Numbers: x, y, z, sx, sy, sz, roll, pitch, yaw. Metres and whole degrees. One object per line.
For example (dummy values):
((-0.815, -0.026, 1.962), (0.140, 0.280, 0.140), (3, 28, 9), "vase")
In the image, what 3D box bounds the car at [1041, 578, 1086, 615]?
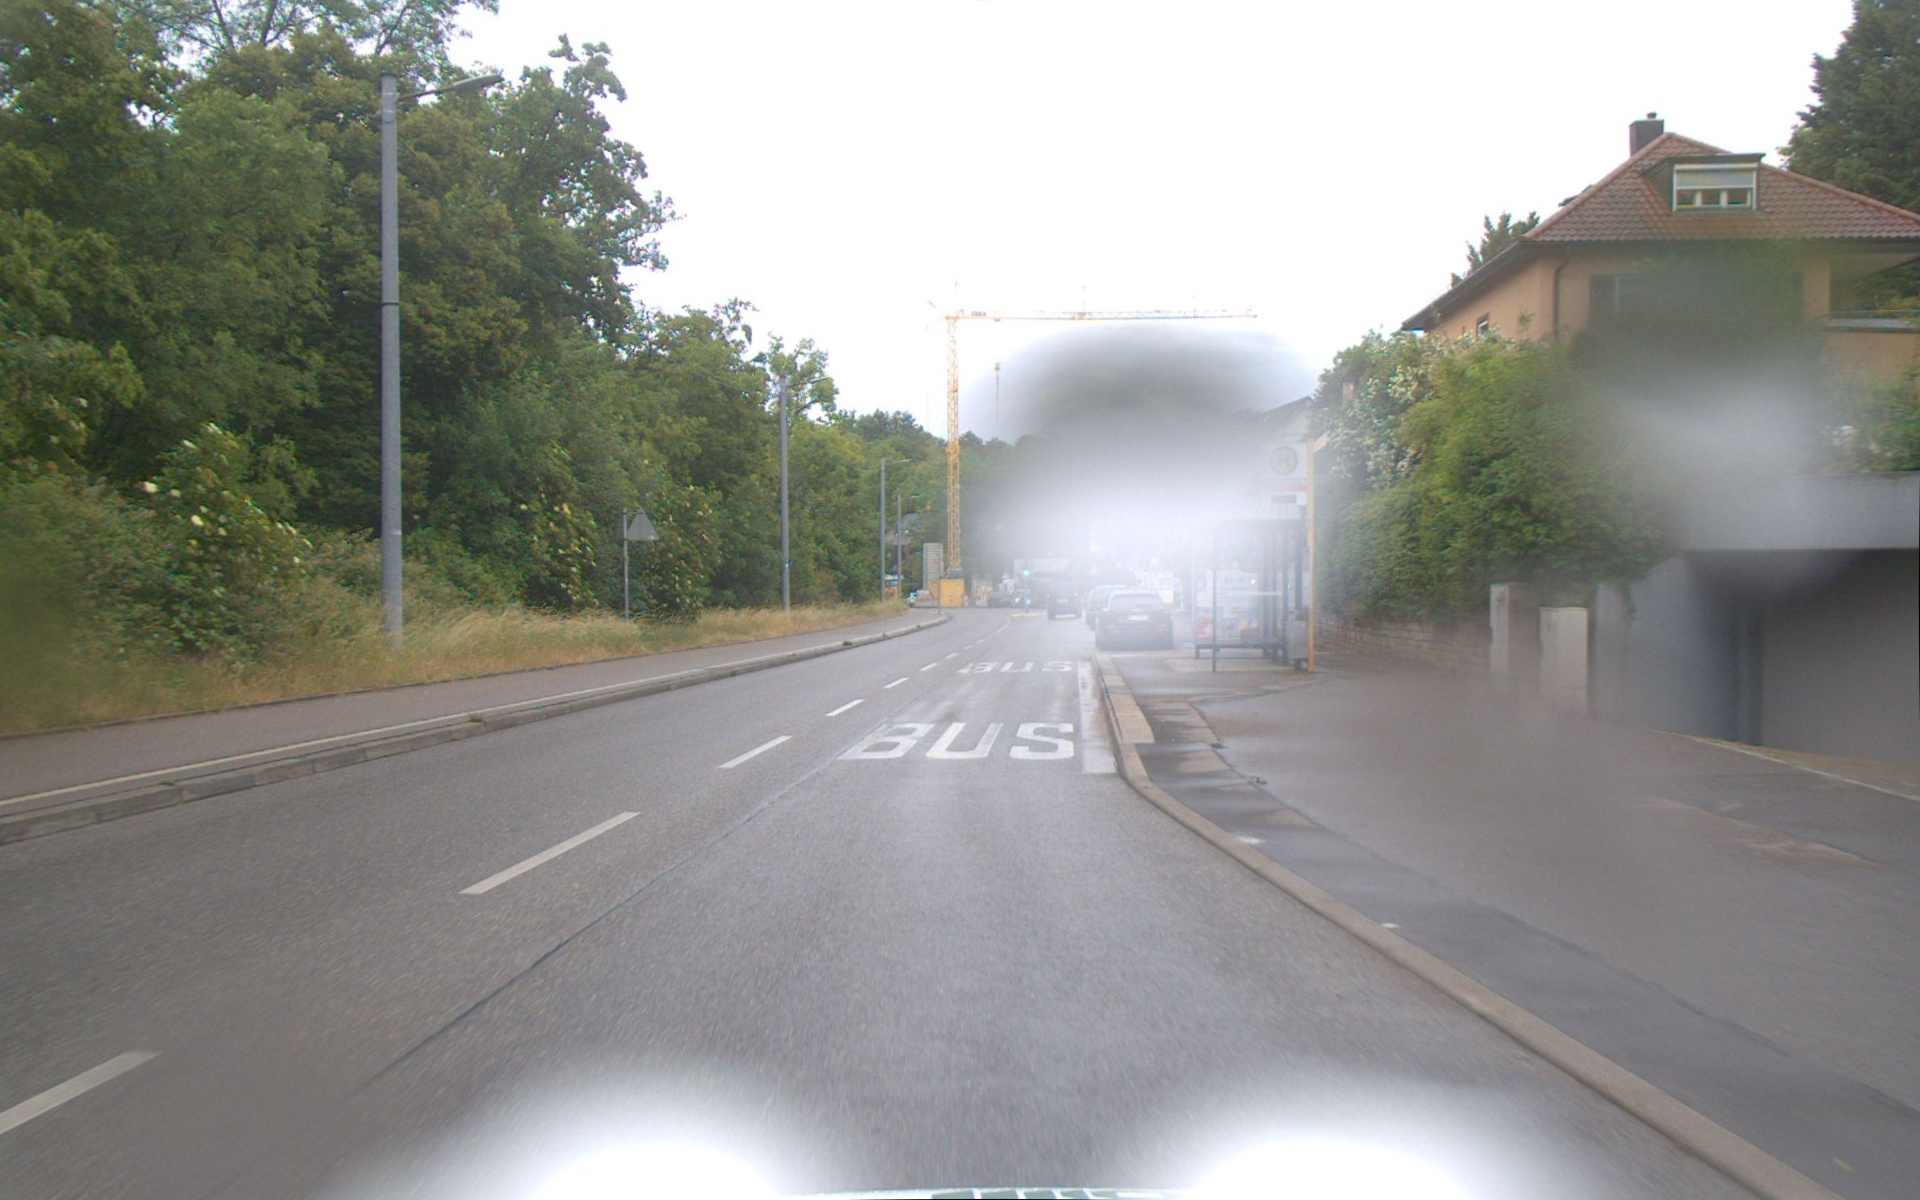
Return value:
((5.238, -0.170, 84.250), (1.893, 1.782, 3.999), (1, -1, -1), "car")

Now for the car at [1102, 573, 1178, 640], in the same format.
((4.594, 0.183, 42.364), (1.791, 1.574, 4.633), (-1, -1, 6), "car")

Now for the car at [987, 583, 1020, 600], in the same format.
((3.873, -0.766, 147.968), (1.897, 1.447, 4.824), (1, 1, -11), "car")

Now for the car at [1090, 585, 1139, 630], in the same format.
((5.859, 0.243, 63.063), (1.694, 1.595, 4.524), (-2, 0, 4), "car")

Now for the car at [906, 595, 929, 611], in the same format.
((-4.897, 0.385, 189.829), (1.715, 1.735, 4.487), (-3, 0, -13), "car")

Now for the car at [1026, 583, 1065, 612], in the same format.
((6.434, -0.154, 124.475), (1.956, 2.048, 4.948), (-3, 0, -7), "car")

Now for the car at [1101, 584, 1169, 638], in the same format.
((4.932, 0.327, 46.792), (1.774, 1.422, 4.105), (-1, -1, 6), "car")
